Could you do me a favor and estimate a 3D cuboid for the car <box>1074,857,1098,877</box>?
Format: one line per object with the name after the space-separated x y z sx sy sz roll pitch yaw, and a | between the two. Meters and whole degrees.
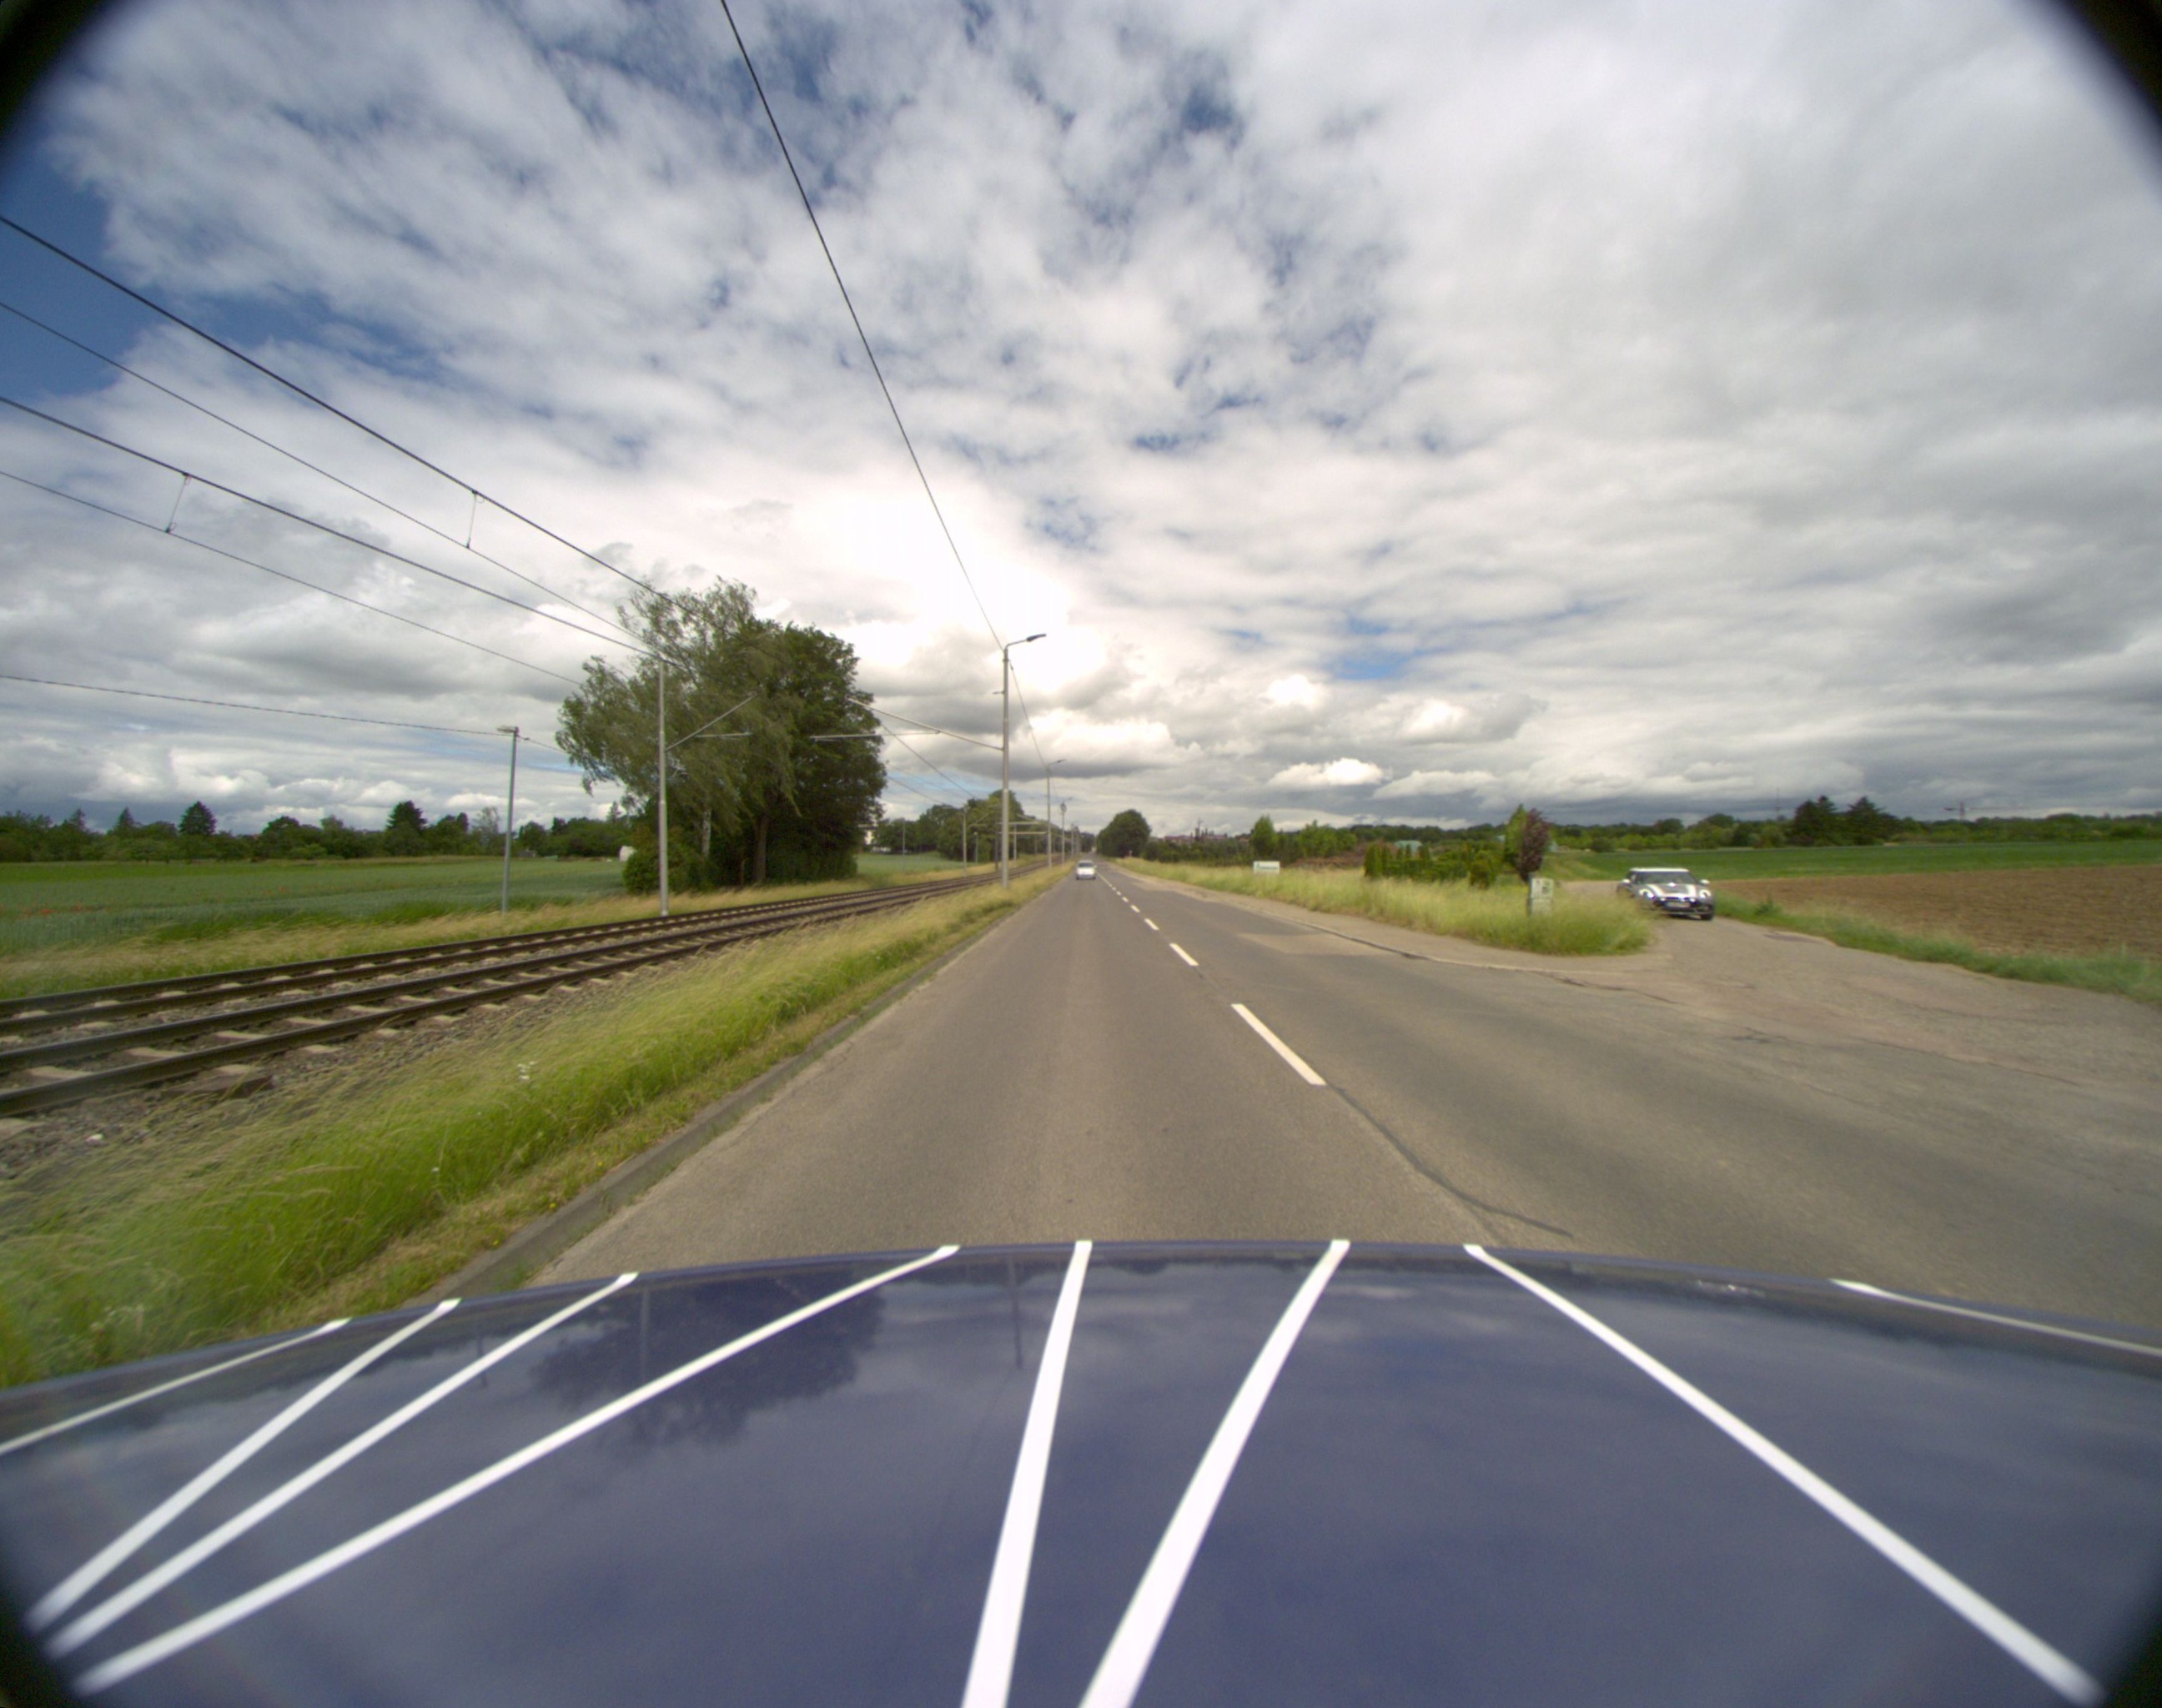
0.378 1.121 66.308 1.999 1.679 3.999 -1 0 -1 | car

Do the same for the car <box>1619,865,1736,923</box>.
16.996 1.073 21.869 1.970 1.445 4.008 0 0 28 | car
